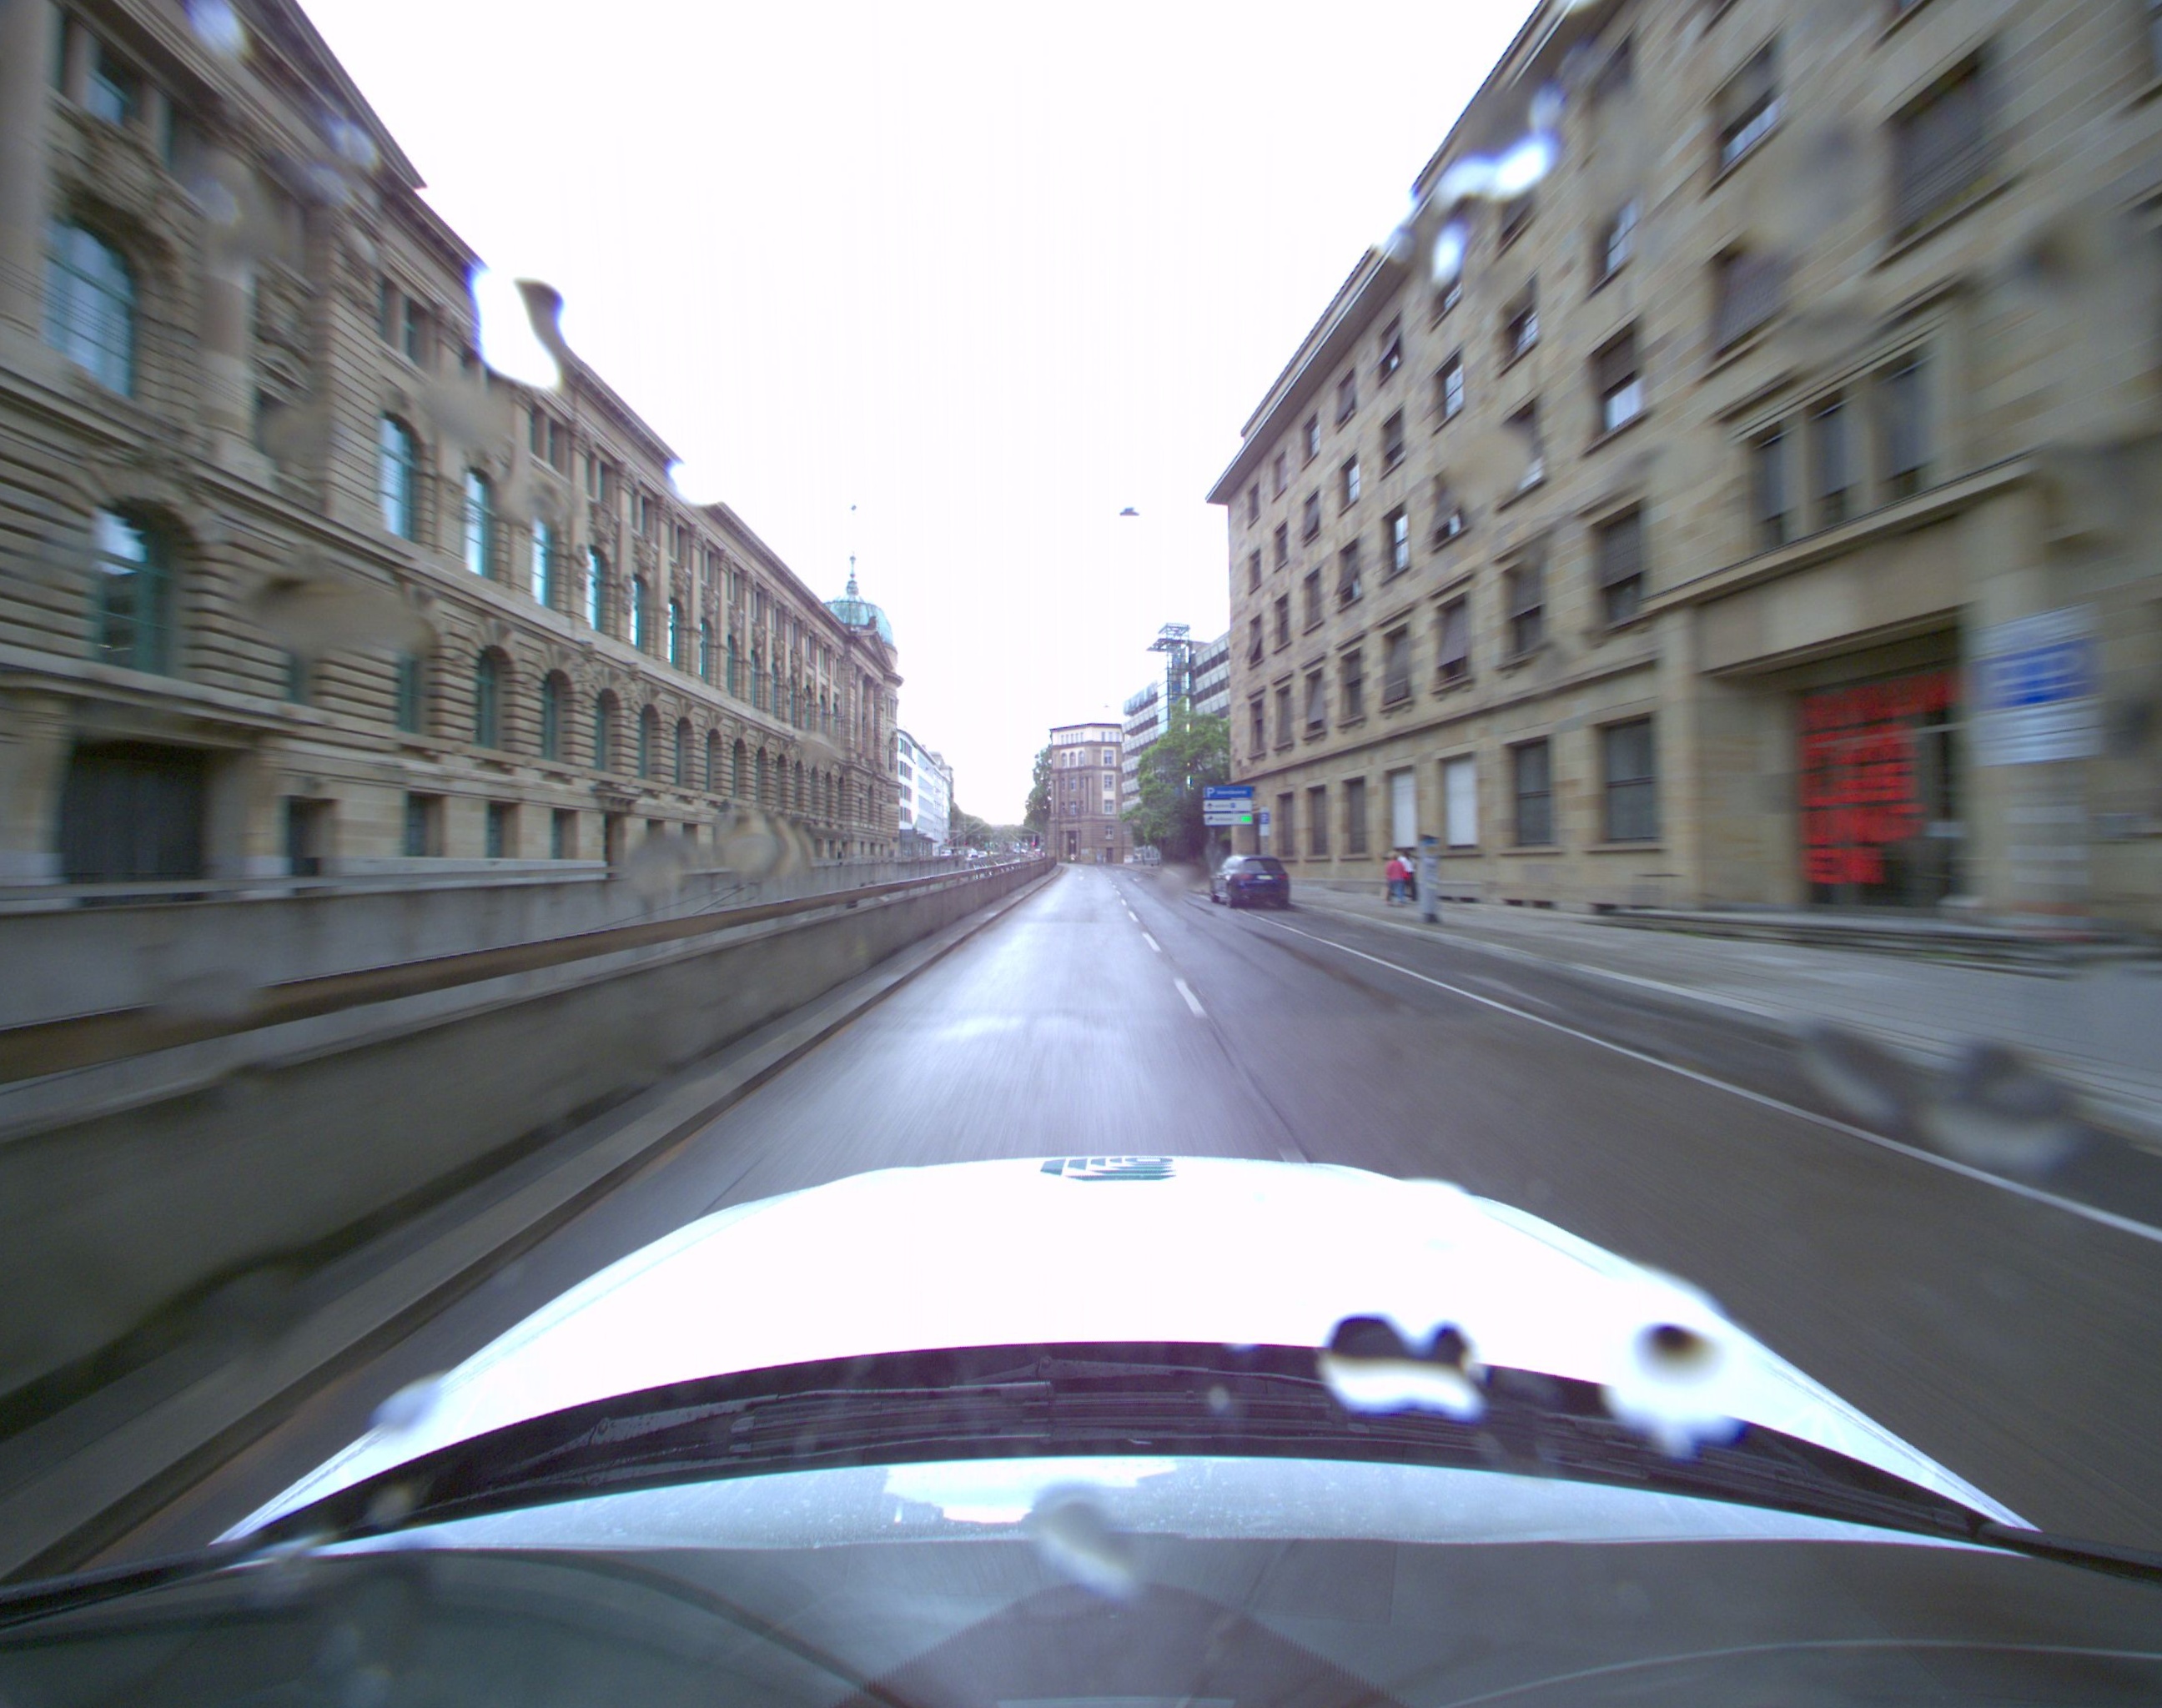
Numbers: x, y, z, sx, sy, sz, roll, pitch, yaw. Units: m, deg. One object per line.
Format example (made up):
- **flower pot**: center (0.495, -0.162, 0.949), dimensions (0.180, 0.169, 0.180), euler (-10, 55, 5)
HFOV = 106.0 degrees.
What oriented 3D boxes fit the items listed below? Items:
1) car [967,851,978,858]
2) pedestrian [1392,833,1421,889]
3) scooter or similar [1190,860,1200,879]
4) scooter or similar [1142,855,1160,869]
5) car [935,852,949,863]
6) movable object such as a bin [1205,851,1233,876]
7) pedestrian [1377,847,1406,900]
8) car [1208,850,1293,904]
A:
- **car**: center (-22.441, 0.107, 168.520), dimensions (1.990, 1.527, 3.656), euler (1, 0, -5)
- **pedestrian**: center (9.350, 0.200, 23.417), dimensions (0.523, 1.603, 0.673), euler (0, -1, -5)
- **scooter or similar**: center (7.693, 1.056, 54.864), dimensions (0.445, 1.259, 1.211), euler (-2, 0, 0)
- **scooter or similar**: center (6.965, 0.807, 80.803), dimensions (1.643, 1.267, 0.737), euler (-2, 1, -25)
- **car**: center (-24.458, 0.610, 143.810), dimensions (1.990, 1.883, 4.918), euler (1, 0, -5)
- **movable object such as a bin**: center (7.418, 0.495, 43.830), dimensions (1.235, 1.310, 1.234), euler (-2, 0, 1)
- **pedestrian**: center (8.789, 0.548, 23.087), dimensions (0.523, 1.492, 0.673), euler (0, -1, -5)
- **car**: center (5.383, 0.697, 26.324), dimensions (1.764, 1.619, 4.154), euler (0, -1, -2)
